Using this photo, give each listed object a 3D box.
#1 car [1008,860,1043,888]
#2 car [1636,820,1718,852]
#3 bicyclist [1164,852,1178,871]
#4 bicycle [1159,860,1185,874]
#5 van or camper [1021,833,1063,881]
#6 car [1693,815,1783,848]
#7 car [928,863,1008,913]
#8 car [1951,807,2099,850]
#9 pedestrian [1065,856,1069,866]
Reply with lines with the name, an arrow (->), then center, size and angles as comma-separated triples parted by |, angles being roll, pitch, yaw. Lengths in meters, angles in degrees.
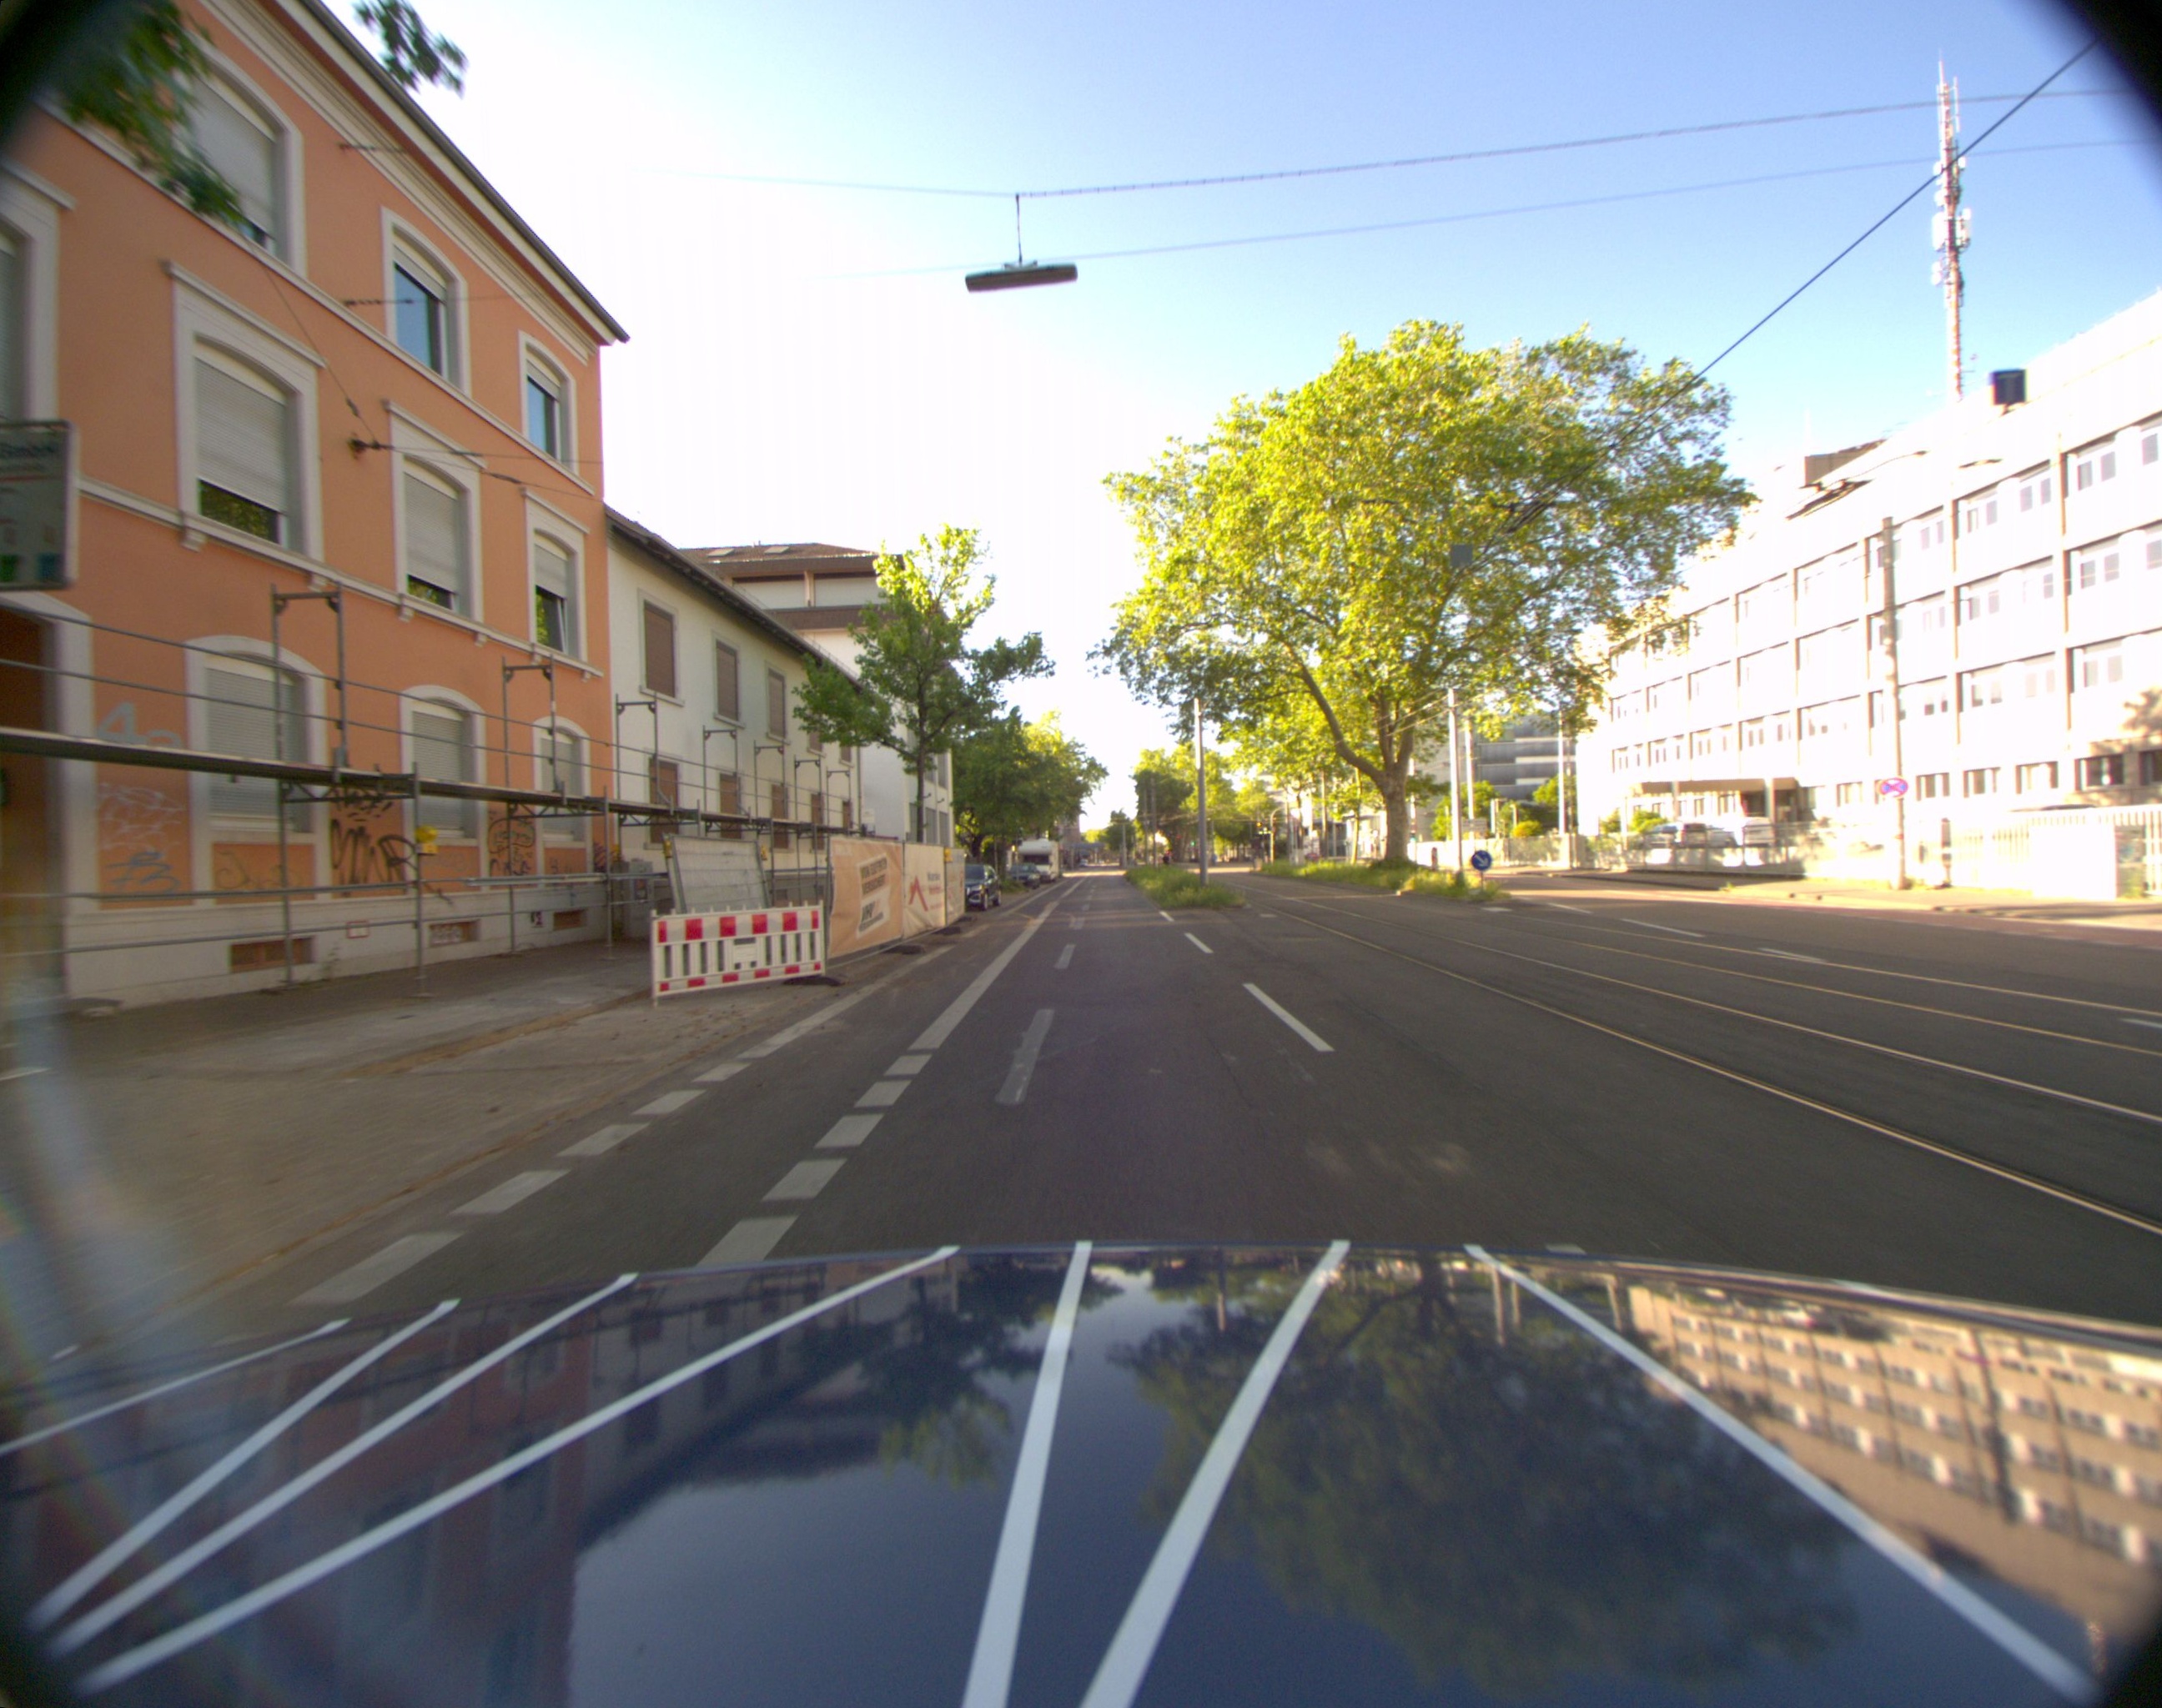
car -> -3.073, 1.102, 42.732 | 1.656, 1.439, 3.801 | -1, 0, 1
car -> 35.538, -1.040, 45.444 | 1.852, 1.807, 4.000 | -2, 0, 3
bicyclist -> 7.701, 0.616, 65.055 | 1.007, 1.567, 0.760 | -2, 1, 0
bicycle -> 7.795, 1.099, 65.058 | 2.082, 1.122, 0.760 | -2, 1, 0
van or camper -> -2.615, 0.222, 52.934 | 2.172, 3.074, 7.291 | -1, 0, 2
car -> 38.452, -1.279, 44.602 | 1.852, 1.742, 4.000 | -2, 0, 3
car -> -3.687, 1.069, 25.493 | 1.767, 1.475, 4.111 | -1, 0, 4
car -> 42.665, -1.138, 34.416 | 4.277, 1.709, 1.854 | -2, 0, 2
pedestrian -> -2.405, 1.167, 132.742 | 0.621, 1.771, 0.686 | -2, 1, 2
